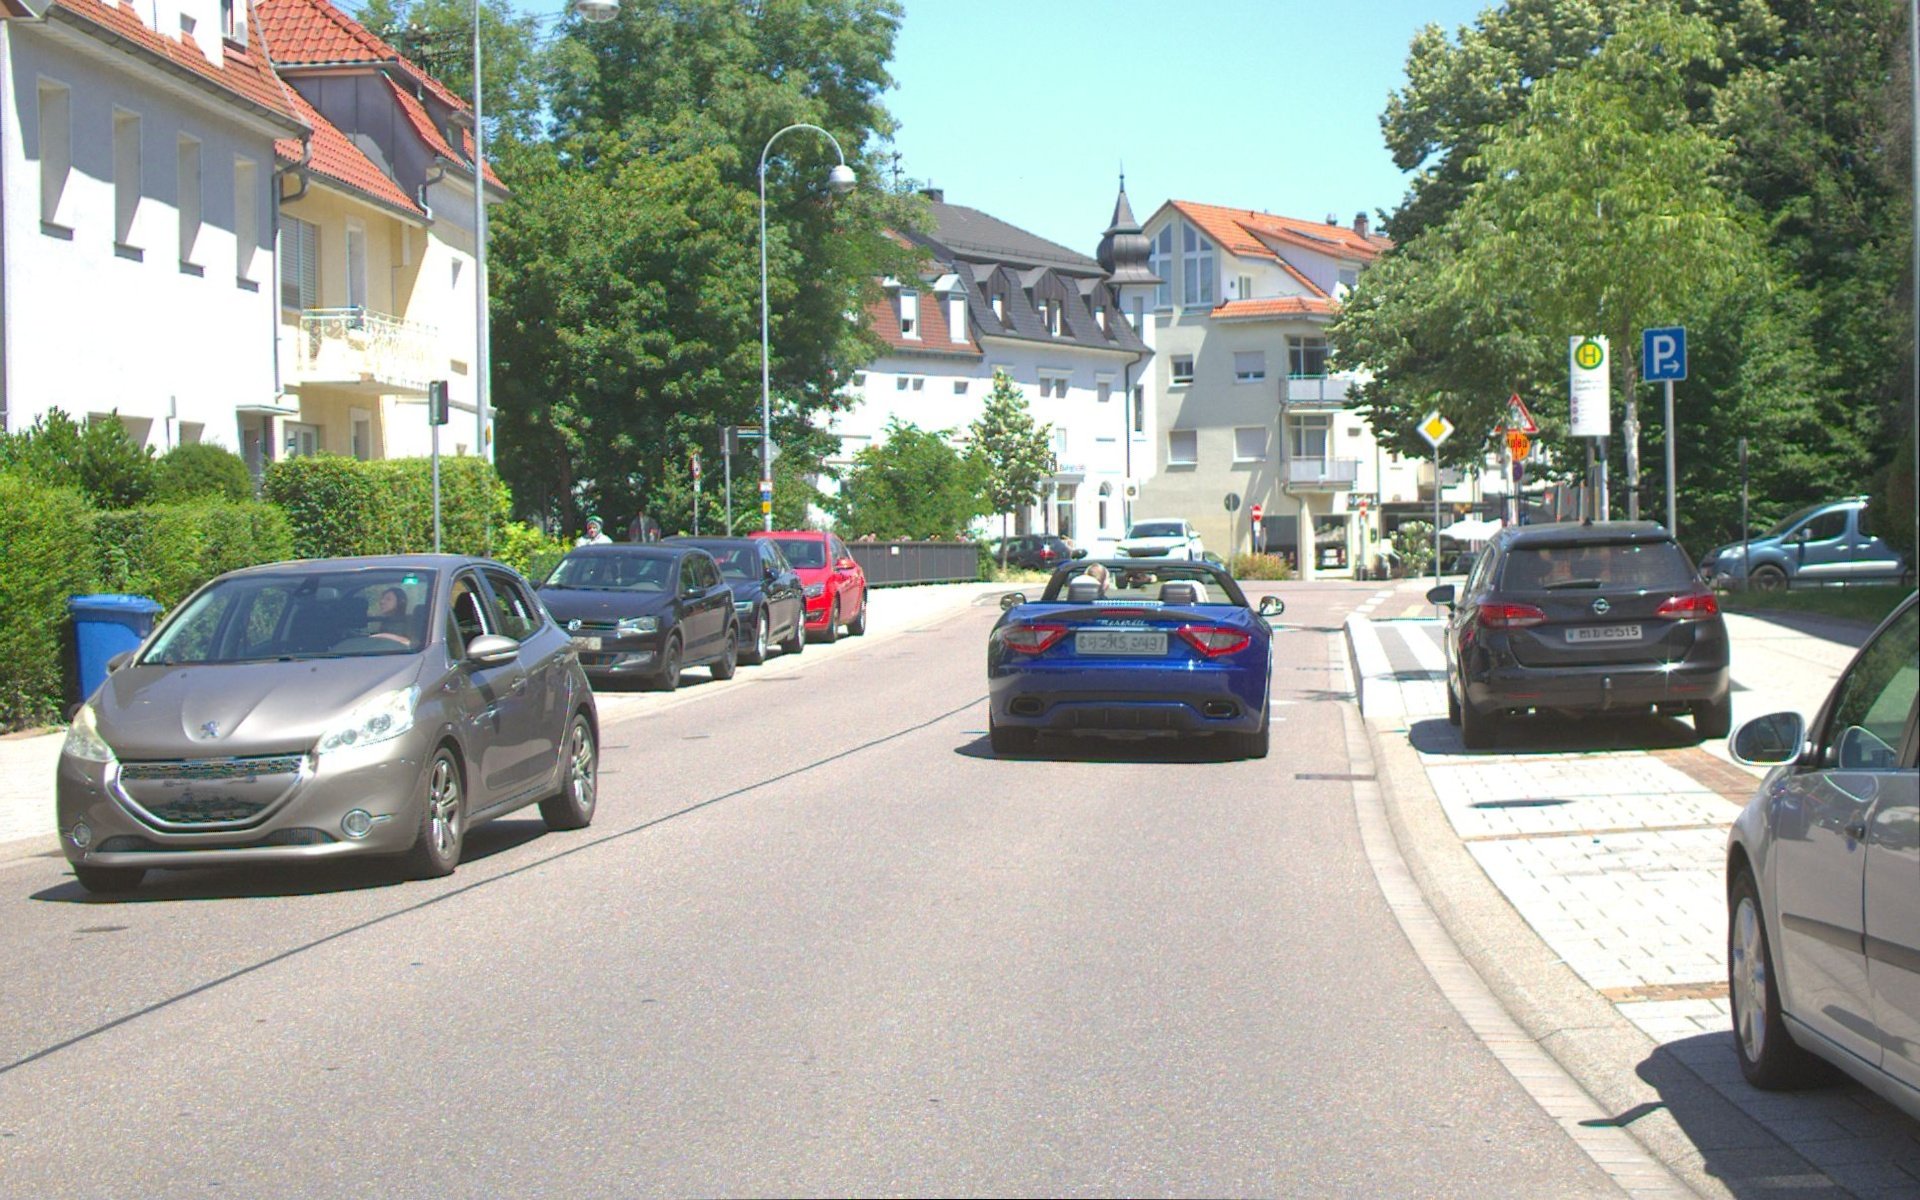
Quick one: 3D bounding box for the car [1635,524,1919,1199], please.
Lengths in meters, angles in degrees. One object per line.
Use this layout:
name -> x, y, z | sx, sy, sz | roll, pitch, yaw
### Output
car -> 2.863, 0.536, 7.935 | 1.813, 1.471, 4.507 | -2, 0, 2

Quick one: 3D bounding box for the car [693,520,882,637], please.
car -> -2.331, -0.344, 47.716 | 1.878, 1.474, 4.737 | 2, 2, 6

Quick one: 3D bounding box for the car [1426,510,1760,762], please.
car -> 4.360, 0.168, 24.354 | 1.834, 1.499, 5.063 | -3, 1, 6

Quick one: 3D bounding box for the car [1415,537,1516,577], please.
car -> 19.327, -1.624, 131.380 | 1.717, 1.455, 4.119 | 2, 2, 44

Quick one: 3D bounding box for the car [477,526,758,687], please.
car -> -3.449, 0.017, 35.376 | 1.788, 1.454, 4.196 | 2, 2, 10

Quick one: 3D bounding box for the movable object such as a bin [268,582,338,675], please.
movable object such as a bin -> -6.685, 0.288, 35.002 | 0.494, 0.908, 0.706 | -2, 1, 6

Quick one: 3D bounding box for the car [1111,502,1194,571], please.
car -> 4.814, -1.599, 85.601 | 1.878, 1.591, 4.359 | -3, 1, 5

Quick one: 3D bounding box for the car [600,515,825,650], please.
car -> -2.927, -0.270, 41.825 | 1.864, 1.456, 5.306 | 1, 2, 6

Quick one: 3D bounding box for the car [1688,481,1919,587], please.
car -> 15.279, -1.164, 60.953 | 4.337, 1.832, 1.750 | 0, 1, -2

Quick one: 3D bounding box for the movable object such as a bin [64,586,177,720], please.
movable object such as a bin -> -6.834, 0.425, 28.005 | 0.673, 1.044, 0.652 | -2, 1, 6

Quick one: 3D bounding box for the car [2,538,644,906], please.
car -> -2.878, 0.487, 16.463 | 1.732, 1.407, 3.999 | -3, 2, 9

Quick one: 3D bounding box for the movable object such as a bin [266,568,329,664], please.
movable object such as a bin -> -7.051, 0.168, 36.620 | 0.467, 0.987, 0.614 | -2, 1, 6

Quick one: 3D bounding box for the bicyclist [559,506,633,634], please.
bicyclist -> -4.806, -0.402, 45.450 | 0.782, 1.653, 0.835 | -1, 1, 4

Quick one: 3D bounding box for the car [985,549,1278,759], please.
car -> 1.312, 0.309, 24.427 | 1.871, 1.337, 4.595 | 0, 1, 6
